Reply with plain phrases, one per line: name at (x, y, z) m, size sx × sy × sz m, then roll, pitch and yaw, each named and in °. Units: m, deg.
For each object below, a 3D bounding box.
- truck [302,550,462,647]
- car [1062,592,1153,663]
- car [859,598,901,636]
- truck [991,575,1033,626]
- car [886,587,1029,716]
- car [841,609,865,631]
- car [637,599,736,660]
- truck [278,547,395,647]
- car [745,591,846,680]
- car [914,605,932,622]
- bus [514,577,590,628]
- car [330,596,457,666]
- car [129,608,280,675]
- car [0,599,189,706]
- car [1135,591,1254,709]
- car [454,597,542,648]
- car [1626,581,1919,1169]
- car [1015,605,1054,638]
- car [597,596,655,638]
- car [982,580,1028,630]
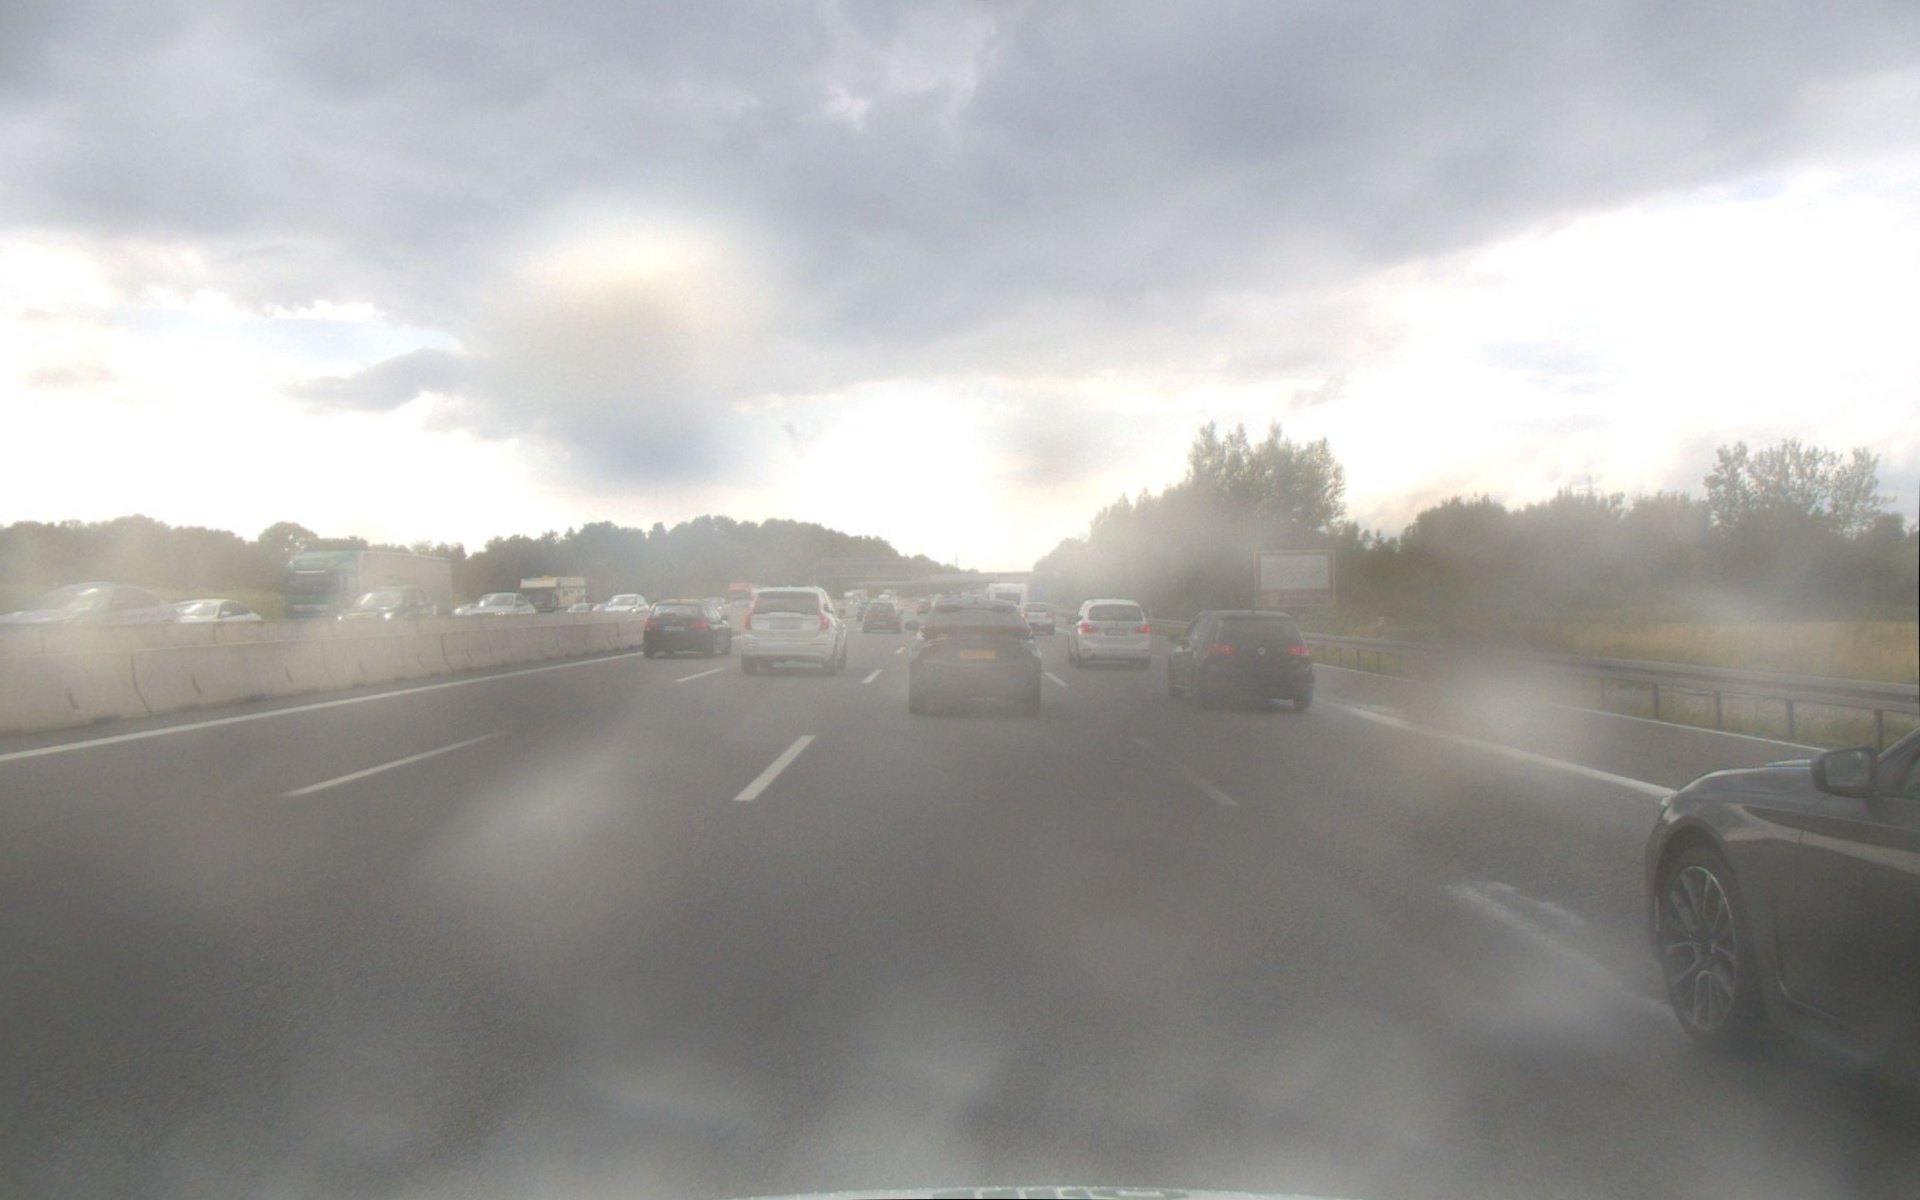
truck at (-28.310, -0.051, 82.027) m, size 3.083 × 4.388 × 13.950 m, roll 0°, pitch 0°, yaw 0°
car at (3.558, 0.638, 40.594) m, size 1.773 × 1.627 × 4.695 m, roll 0°, pitch 0°, yaw 0°
car at (-3.754, 0.788, 77.805) m, size 1.843 × 1.715 × 3.999 m, roll 0°, pitch 0°, yaw -1°
truck at (3.928, 0.037, 127.132) m, size 3.069 × 3.774 × 9.847 m, roll 0°, pitch 0°, yaw 1°
car at (-0.134, 0.672, 23.565) m, size 1.745 × 1.641 × 4.594 m, roll 0°, pitch 0°, yaw -4°
car at (-7.673, 1.437, 118.930) m, size 1.531 × 1.503 × 3.918 m, roll 0°, pitch 0°, yaw -1°
car at (-7.147, 0.750, 43.637) m, size 1.744 × 1.507 × 4.353 m, roll 0°, pitch 0°, yaw 2°
truck at (-28.254, -0.108, 75.190) m, size 3.054 × 4.357 × 5.910 m, roll 0°, pitch 0°, yaw 0°
car at (-3.383, 0.707, 34.696) m, size 1.744 × 1.746 × 4.352 m, roll 0°, pitch 0°, yaw -1°
car at (-3.789, 1.328, 168.767) m, size 1.843 × 1.715 × 3.999 m, roll 0°, pitch 0°, yaw -1°
bus at (-28.659, 0.199, 116.726) m, size 2.773 × 3.391 × 9.964 m, roll 0°, pitch 0°, yaw 1°
car at (-16.445, 0.860, 48.311) m, size 1.953 × 1.931 × 5.186 m, roll 0°, pitch 0°, yaw 0°
car at (-21.183, 1.122, 46.630) m, size 1.953 × 1.734 × 5.077 m, roll 0°, pitch 0°, yaw 0°
car at (-17.189, 0.944, 32.292) m, size 1.953 × 1.918 × 5.185 m, roll 0°, pitch 0°, yaw -1°
car at (3.615, 0.716, 25.647) m, size 1.670 × 1.659 × 4.460 m, roll 0°, pitch 0°, yaw 8°
car at (-17.648, 0.828, 63.417) m, size 1.953 × 1.885 × 5.077 m, roll 0°, pitch 0°, yaw 0°
car at (3.440, 0.713, 3.708) m, size 1.900 × 1.517 × 4.774 m, roll 0°, pitch 0°, yaw -1°
car at (3.510, 1.001, 78.319) m, size 1.758 × 1.503 × 4.038 m, roll 0°, pitch 0°, yaw 1°
car at (-16.755, 0.838, 83.130) m, size 1.953 × 2.049 × 4.763 m, roll 0°, pitch 0°, yaw 0°
car at (2.720, 0.299, 102.499) m, size 2.515 × 2.946 × 7.532 m, roll 0°, pitch 0°, yaw -1°
